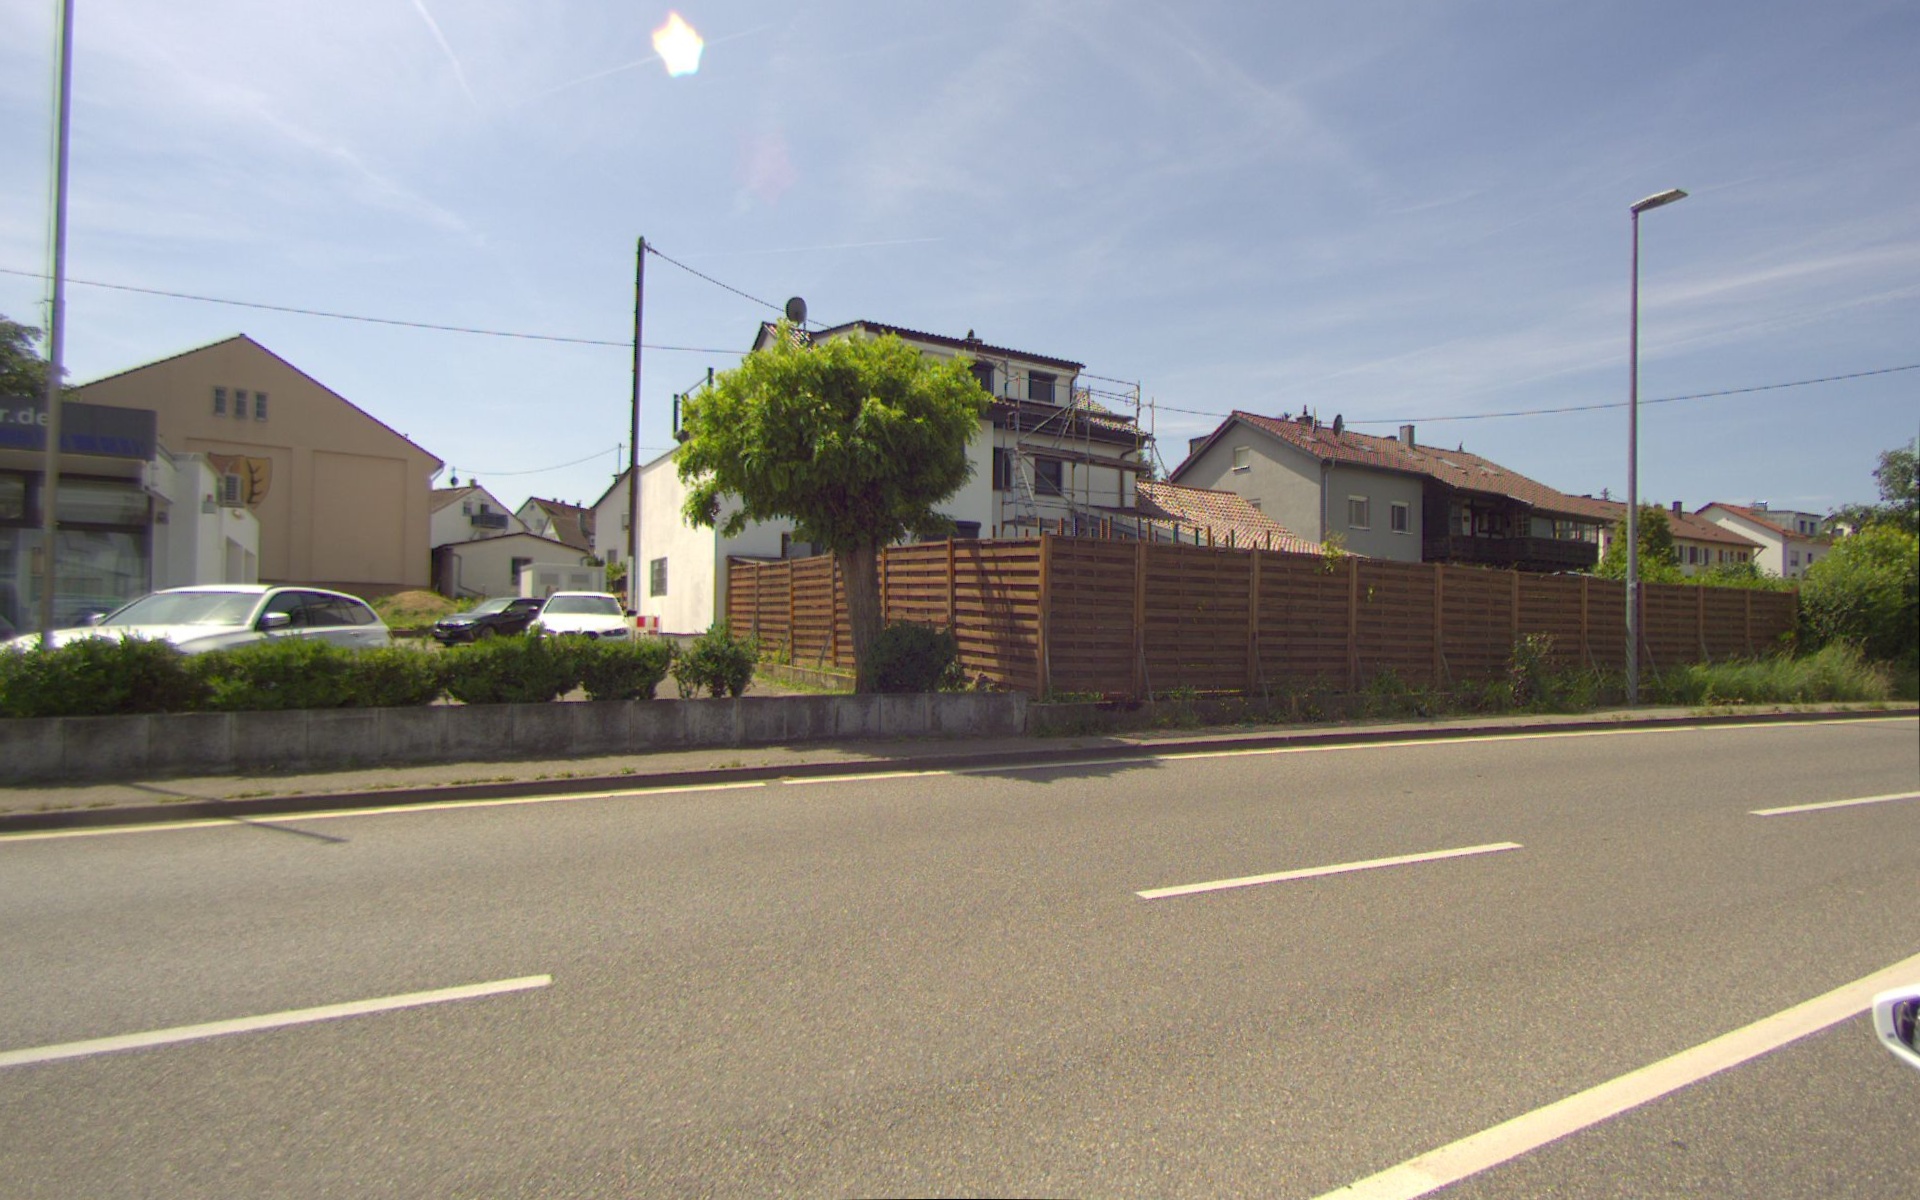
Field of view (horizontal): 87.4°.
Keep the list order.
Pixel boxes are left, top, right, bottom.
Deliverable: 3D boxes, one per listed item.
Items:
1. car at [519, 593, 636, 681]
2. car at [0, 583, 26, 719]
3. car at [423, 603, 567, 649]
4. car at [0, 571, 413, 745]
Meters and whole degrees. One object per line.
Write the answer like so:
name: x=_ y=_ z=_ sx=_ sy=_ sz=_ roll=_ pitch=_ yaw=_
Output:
car: x=-7.357 y=0.642 z=19.637 sx=1.805 sy=1.530 sz=3.985 roll=1 pitch=0 yaw=-17
car: x=-11.156 y=0.515 z=8.920 sx=1.863 sy=1.467 sz=4.339 roll=2 pitch=0 yaw=-5
car: x=-14.403 y=0.765 z=31.329 sx=1.756 sy=1.238 sz=3.999 roll=2 pitch=1 yaw=21
car: x=-7.891 y=0.511 z=10.879 sx=1.822 sy=1.467 sz=4.339 roll=2 pitch=0 yaw=-5
